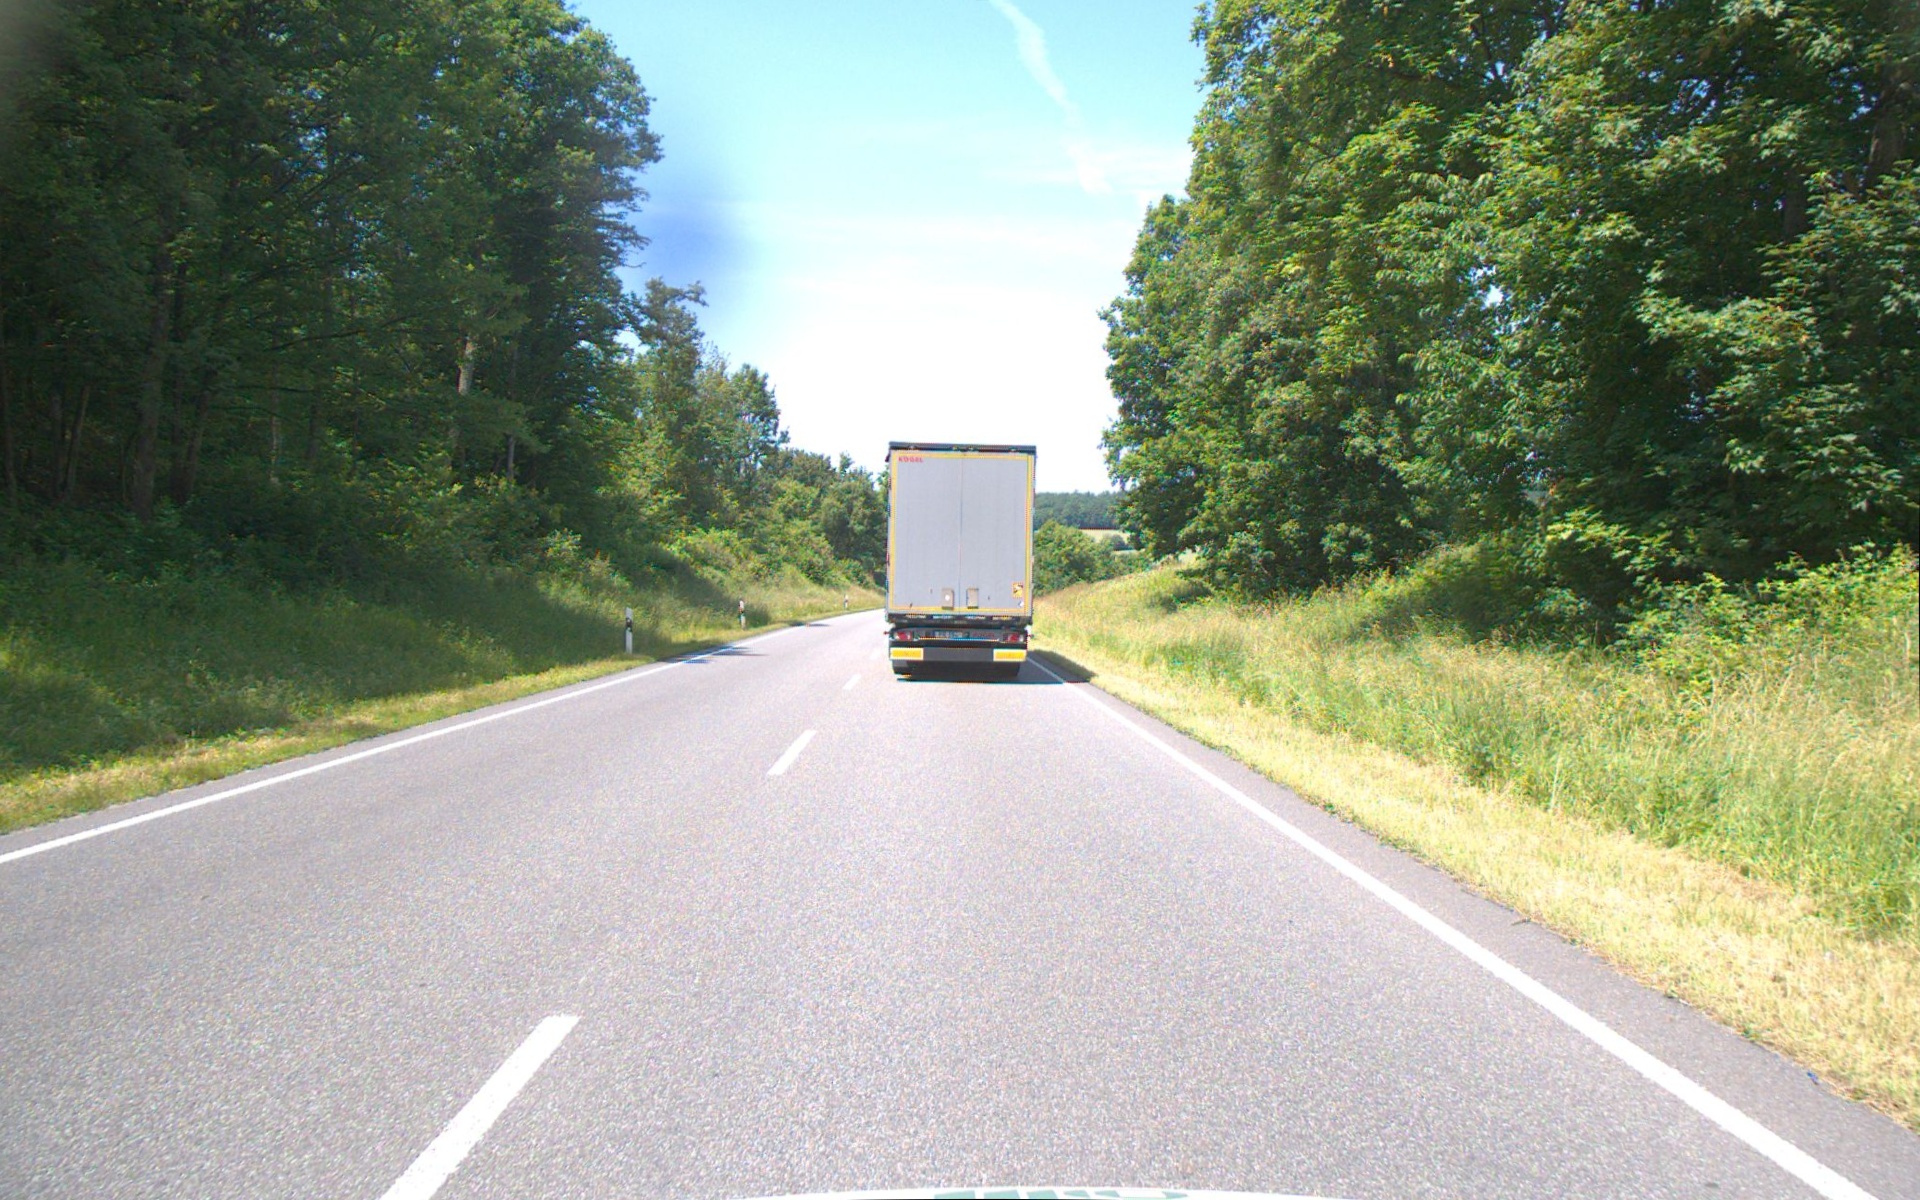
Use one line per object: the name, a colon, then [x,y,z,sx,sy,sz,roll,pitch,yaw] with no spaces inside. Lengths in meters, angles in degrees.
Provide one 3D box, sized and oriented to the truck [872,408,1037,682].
truck: [-0.164,-0.956,33.814,2.760,4.612,11.766,0,0,-1]
